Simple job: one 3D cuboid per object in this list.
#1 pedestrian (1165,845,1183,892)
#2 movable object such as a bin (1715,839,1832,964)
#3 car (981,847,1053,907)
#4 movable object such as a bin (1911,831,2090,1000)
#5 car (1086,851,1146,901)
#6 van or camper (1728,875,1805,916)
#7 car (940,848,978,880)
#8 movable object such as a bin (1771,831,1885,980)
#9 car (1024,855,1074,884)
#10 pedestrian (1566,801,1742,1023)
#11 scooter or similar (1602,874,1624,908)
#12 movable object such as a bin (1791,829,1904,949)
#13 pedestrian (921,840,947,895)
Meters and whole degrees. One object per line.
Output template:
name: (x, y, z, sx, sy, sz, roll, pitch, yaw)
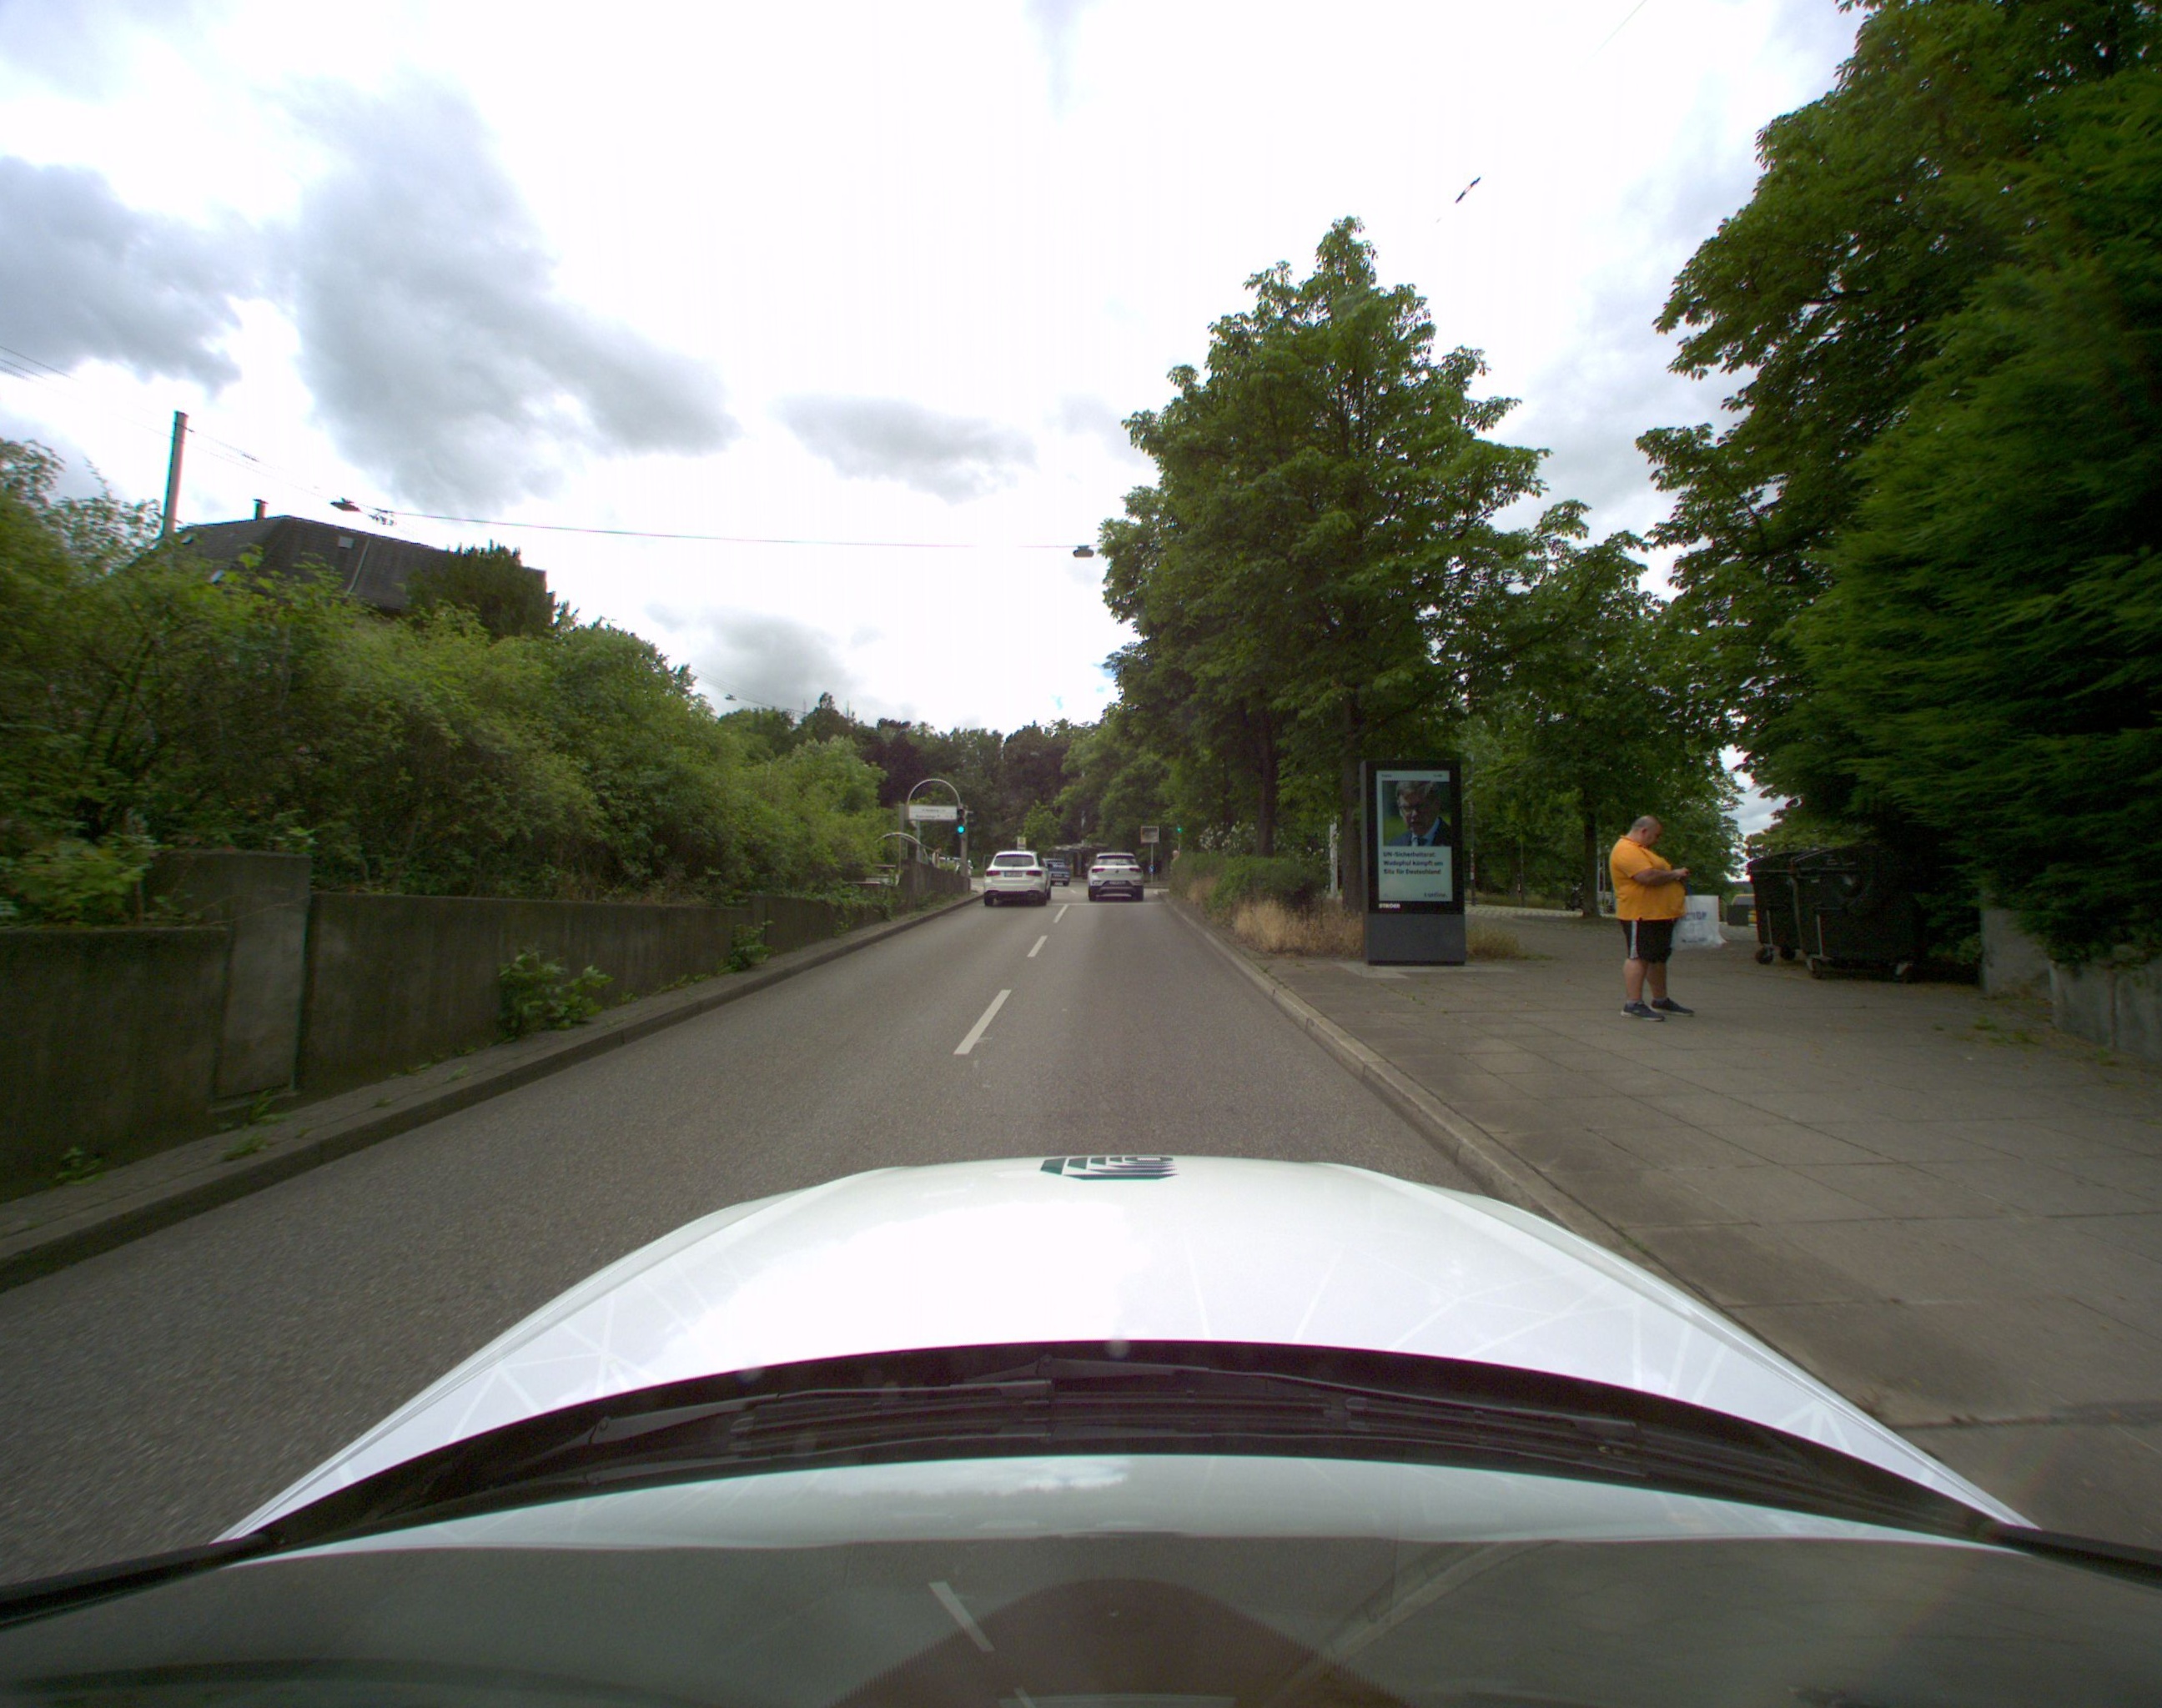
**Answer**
pedestrian: (3.476, 0.552, 30.358, 0.612, 1.712, 0.728, -1, -1, 5)
movable object such as a bin: (9.091, 0.585, 10.690, 1.263, 1.535, 0.835, 0, 0, -33)
car: (-1.919, 0.680, 25.552, 1.871, 1.652, 4.340, -2, 0, 0)
movable object such as a bin: (8.785, 0.559, 7.847, 0.815, 1.487, 1.065, 2, -3, -44)
car: (1.187, 0.706, 27.364, 1.857, 1.556, 3.897, -1, -1, 3)
van or camper: (37.121, 2.246, 44.105, 4.485, 1.978, 1.871, 5, -2, -32)
car: (-7.746, 0.636, 51.480, 1.996, 1.882, 3.981, 2, -1, -14)
movable object such as a bin: (8.336, 0.537, 9.078, 1.156, 1.536, 0.833, 0, -2, -44)
car: (-1.881, 0.868, 46.672, 1.866, 1.632, 3.934, 0, -1, -19)
pedestrian: (4.751, 0.448, 6.800, 0.834, 1.712, 0.818, -1, -1, -13)
scooter or similar: (20.455, 1.434, 31.324, 0.458, 1.248, 1.327, 2, -2, 24)
movable object such as a bin: (10.411, 0.462, 11.066, 1.204, 1.536, 0.836, 2, -2, -31)
pedestrian: (-4.997, 0.467, 27.778, 0.701, 1.861, 0.615, 0, 0, 8)
